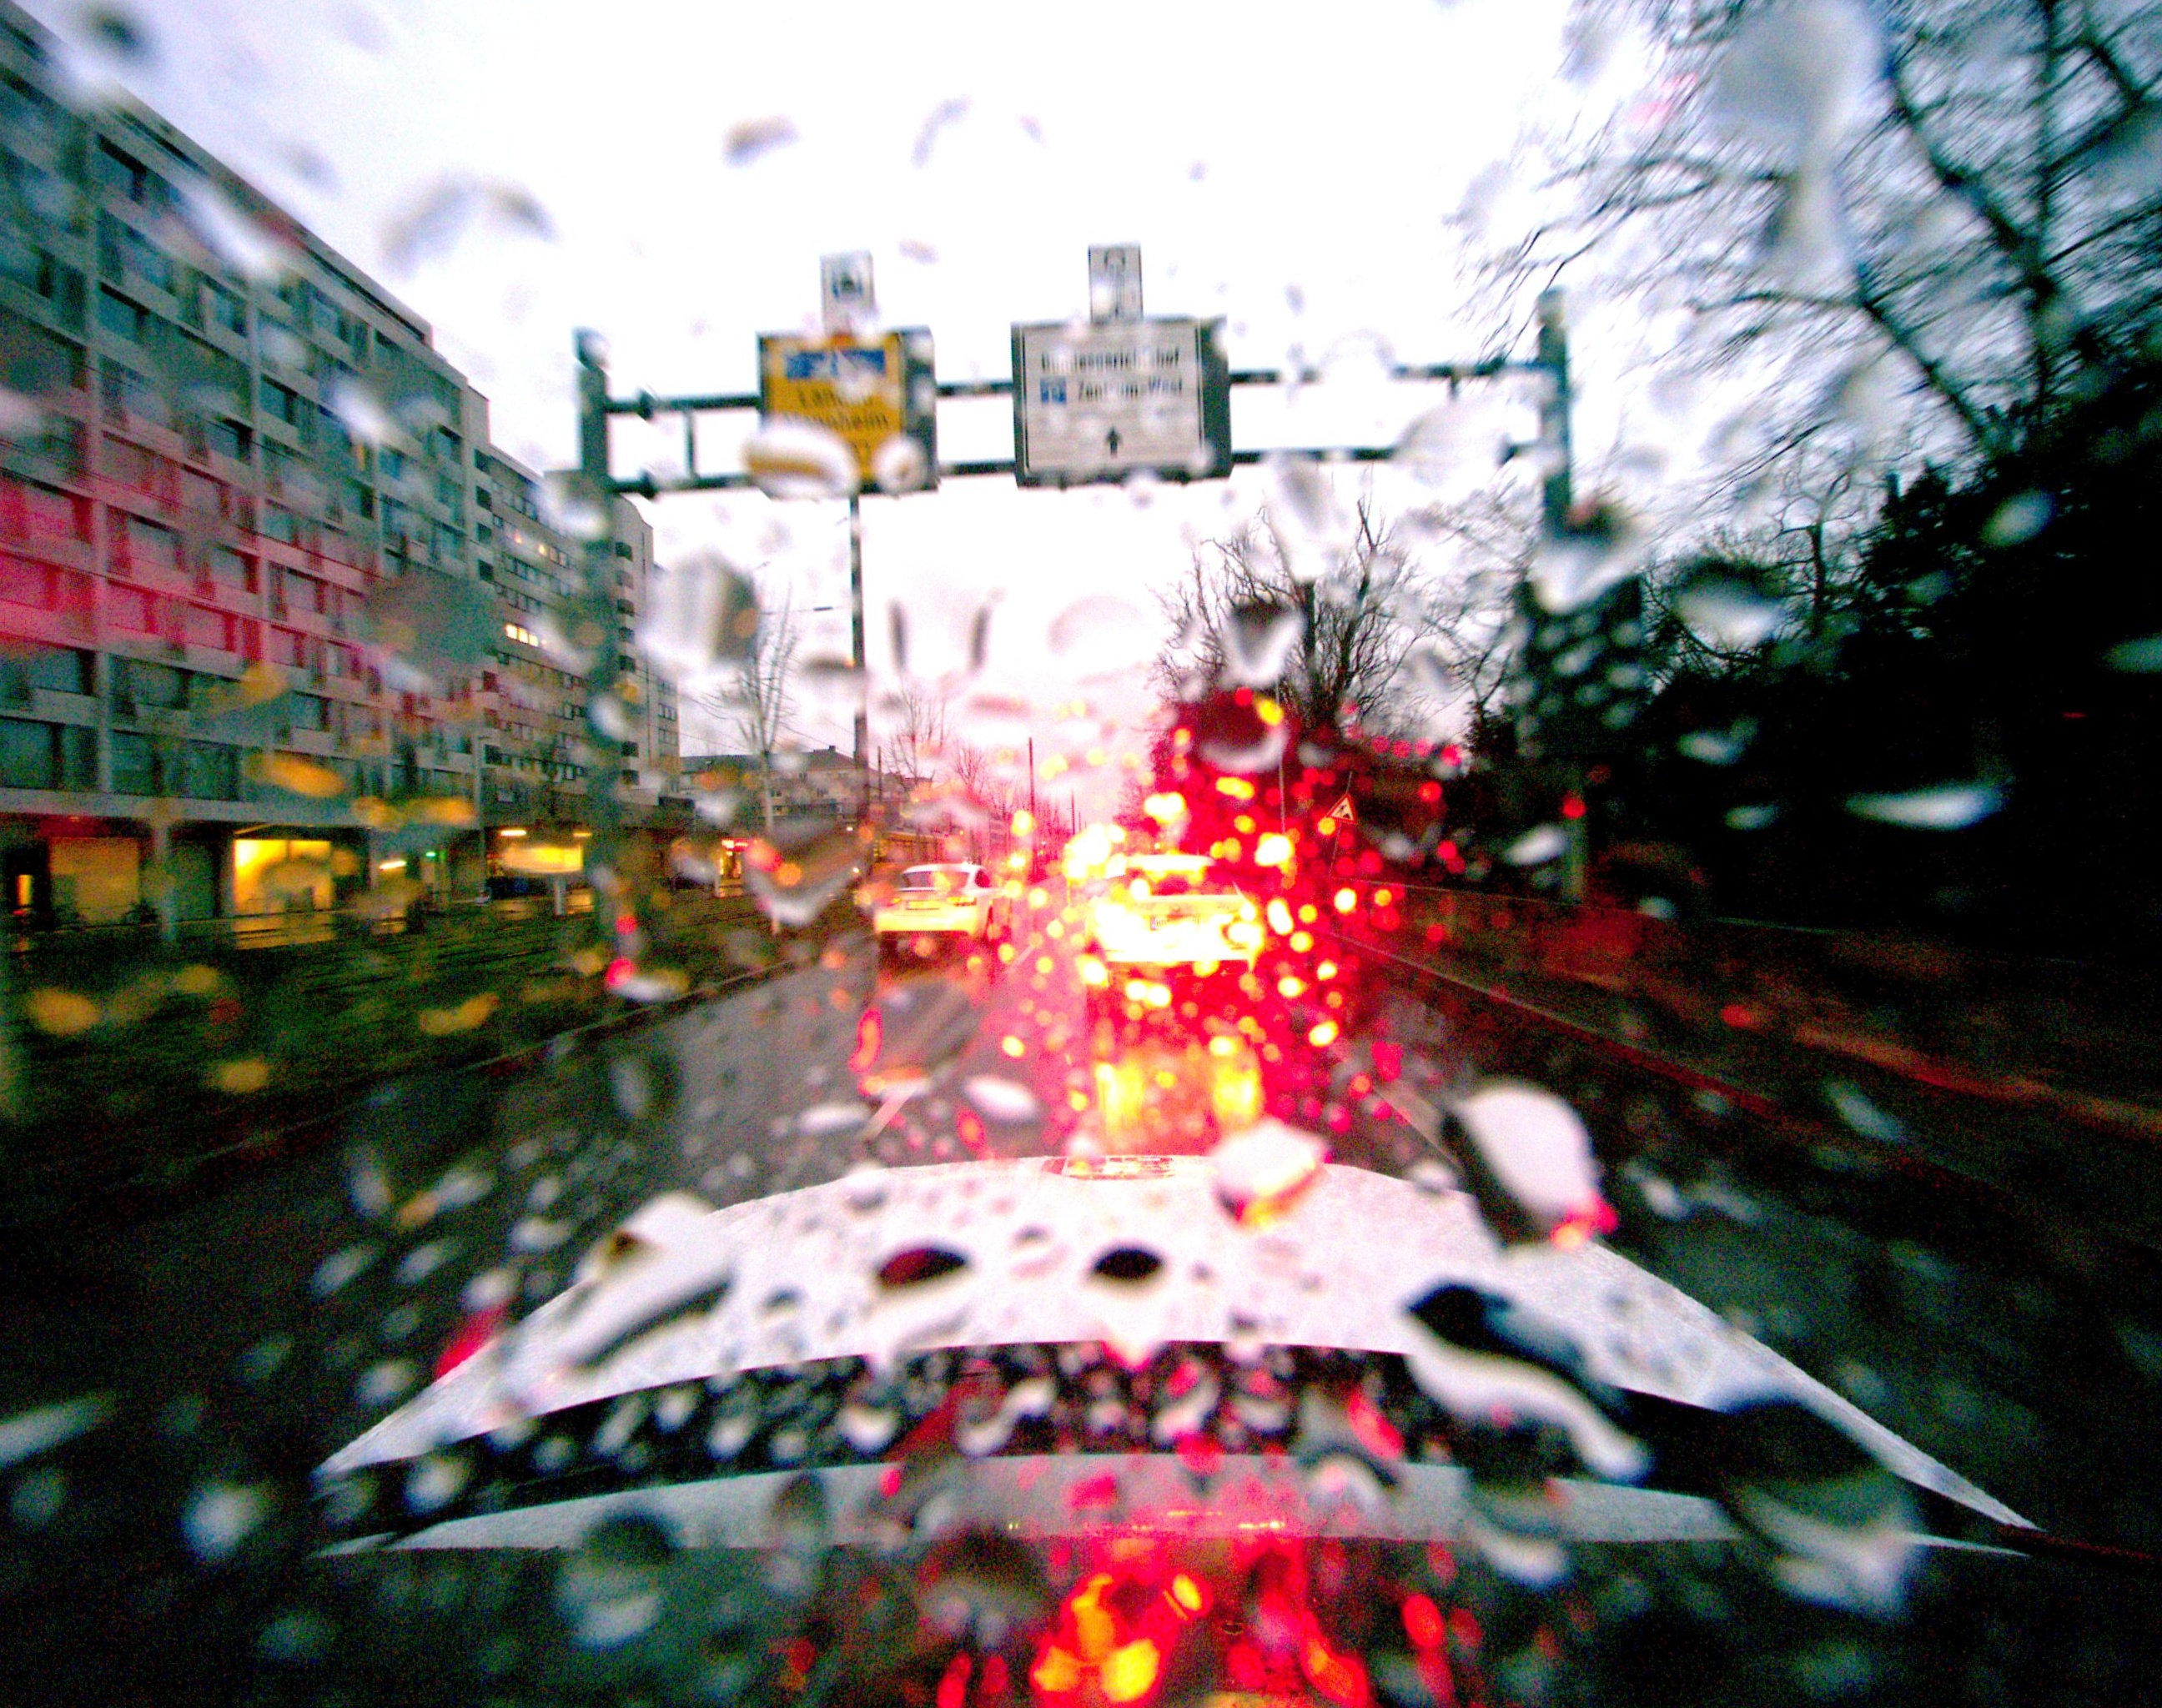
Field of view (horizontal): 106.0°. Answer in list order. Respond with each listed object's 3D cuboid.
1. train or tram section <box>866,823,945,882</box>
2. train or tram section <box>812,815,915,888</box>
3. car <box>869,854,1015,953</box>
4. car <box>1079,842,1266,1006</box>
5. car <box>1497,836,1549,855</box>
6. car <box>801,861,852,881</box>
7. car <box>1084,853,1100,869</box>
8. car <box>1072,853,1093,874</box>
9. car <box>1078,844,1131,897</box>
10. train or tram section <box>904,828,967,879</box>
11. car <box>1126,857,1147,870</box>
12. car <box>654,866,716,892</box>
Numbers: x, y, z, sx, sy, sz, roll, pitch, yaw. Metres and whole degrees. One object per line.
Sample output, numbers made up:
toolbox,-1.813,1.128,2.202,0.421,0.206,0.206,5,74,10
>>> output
train or tram section,-11.498,-0.070,54.377,2.832,3.504,9.161,-3,0,2
train or tram section,-11.796,-0.115,45.183,2.832,3.504,9.161,-3,0,2
car,-2.264,0.750,14.380,1.753,1.469,4.252,-1,0,1
car,0.880,0.683,9.964,1.754,1.552,4.250,-1,0,-1
car,41.822,-0.797,77.104,1.825,1.662,3.958,0,0,-34
car,-28.030,1.870,89.825,4.909,2.013,1.977,-2,0,-40
car,1.497,0.914,107.569,1.986,2.014,4.002,-1,0,2
car,0.175,0.897,80.679,1.986,2.014,4.002,-1,0,2
car,0.969,0.642,33.183,1.986,2.014,4.002,-1,0,2
train or tram section,-11.188,-0.022,63.530,2.832,3.504,9.161,-3,0,2
car,8.733,1.475,128.135,1.976,2.014,4.022,-1,0,22
car,-29.644,1.847,60.991,3.839,1.797,1.887,-2,0,-40
